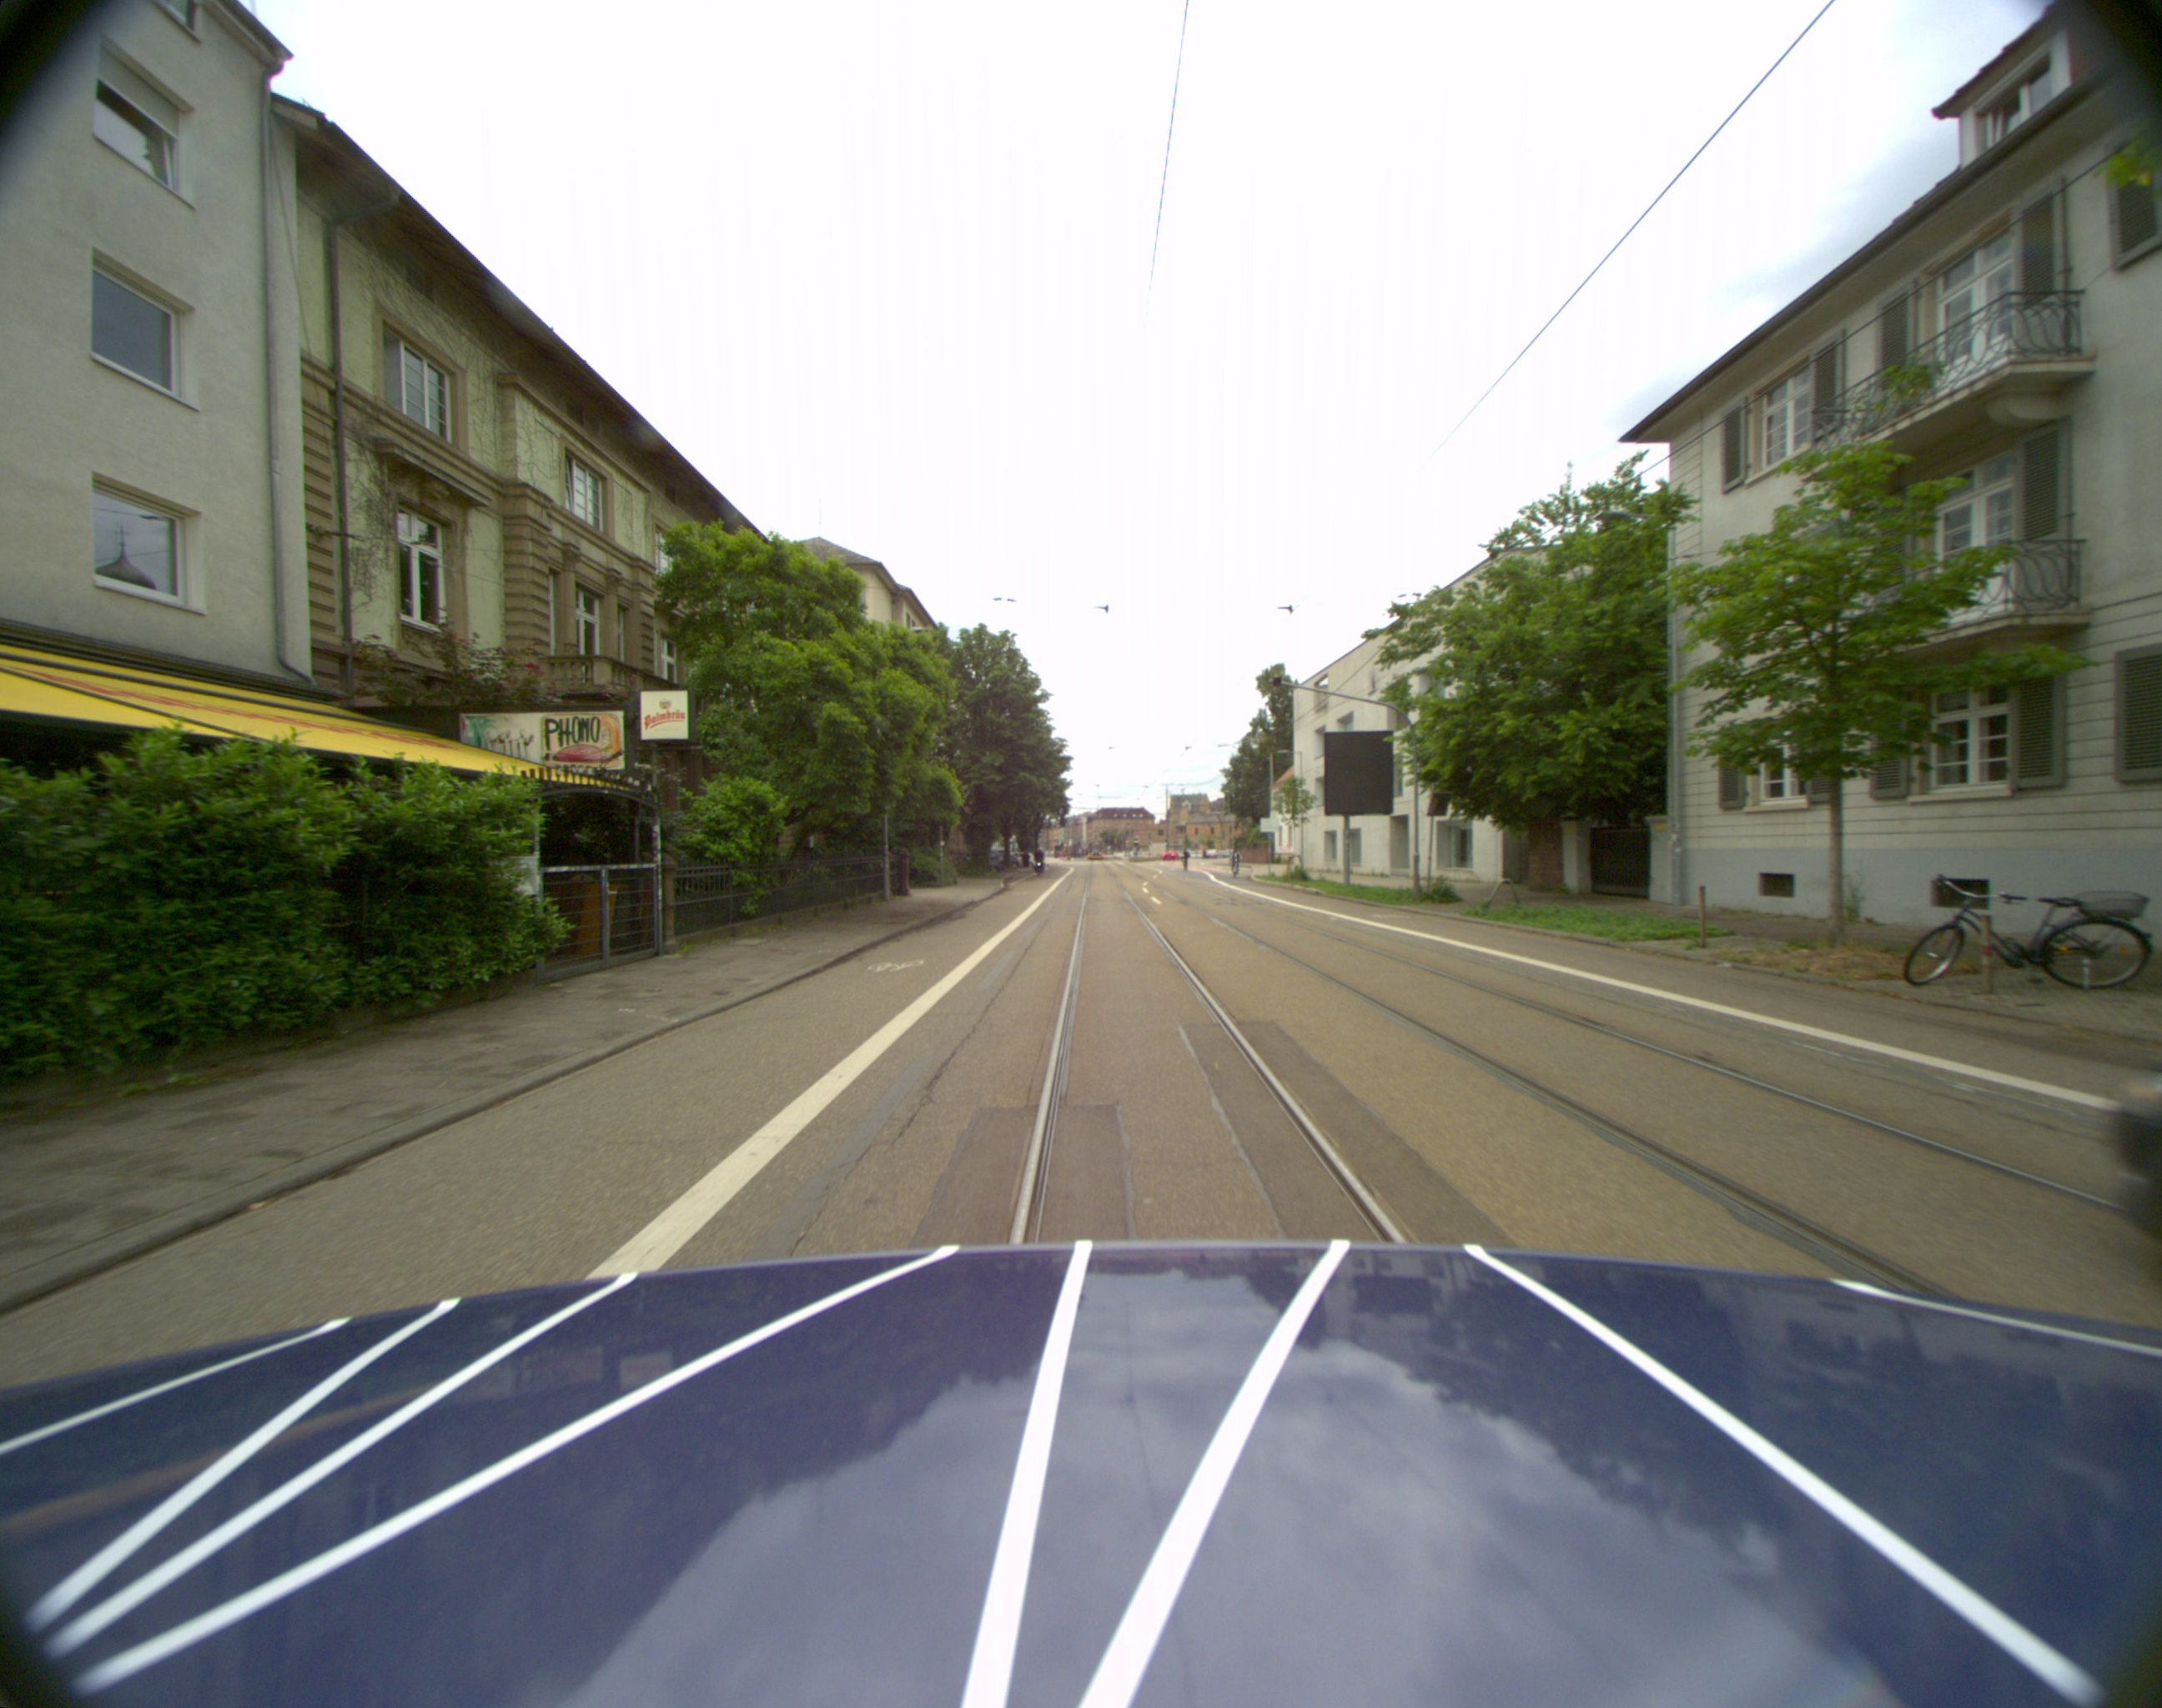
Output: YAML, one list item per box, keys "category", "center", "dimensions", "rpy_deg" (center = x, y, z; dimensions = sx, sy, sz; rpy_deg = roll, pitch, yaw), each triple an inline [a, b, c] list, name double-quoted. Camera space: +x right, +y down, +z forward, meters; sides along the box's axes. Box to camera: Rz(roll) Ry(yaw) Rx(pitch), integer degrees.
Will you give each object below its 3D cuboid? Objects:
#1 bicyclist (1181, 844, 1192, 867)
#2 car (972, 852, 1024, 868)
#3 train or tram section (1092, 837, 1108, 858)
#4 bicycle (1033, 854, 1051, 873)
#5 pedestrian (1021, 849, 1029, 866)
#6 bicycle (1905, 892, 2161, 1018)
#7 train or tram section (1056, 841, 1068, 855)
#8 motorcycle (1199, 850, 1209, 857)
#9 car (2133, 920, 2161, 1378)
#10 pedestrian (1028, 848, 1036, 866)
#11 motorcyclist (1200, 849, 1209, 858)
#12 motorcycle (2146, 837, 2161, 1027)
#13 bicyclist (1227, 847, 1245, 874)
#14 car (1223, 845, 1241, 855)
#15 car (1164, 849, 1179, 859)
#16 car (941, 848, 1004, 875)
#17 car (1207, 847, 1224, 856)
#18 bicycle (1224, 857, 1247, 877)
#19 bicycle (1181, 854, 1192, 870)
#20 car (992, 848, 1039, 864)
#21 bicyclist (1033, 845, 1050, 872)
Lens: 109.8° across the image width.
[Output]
- category: "bicyclist"
  center: [8.358, 0.152, 60.234]
  dimensions: [0.793, 1.773, 1.148]
  rpy_deg: [3, 1, 9]
- category: "car"
  center: [-7.496, 0.532, 68.685]
  dimensions: [4.338, 1.394, 1.750]
  rpy_deg: [-1, 1, -32]
- category: "train or tram section"
  center: [3.360, -1.109, 137.237]
  dimensions: [2.631, 3.660, 5.984]
  rpy_deg: [-1, 1, -1]
- category: "bicycle"
  center: [-2.673, 0.645, 52.038]
  dimensions: [0.852, 1.234, 2.311]
  rpy_deg: [-1, -1, 6]
- category: "pedestrian"
  center: [-5.499, 0.365, 74.912]
  dimensions: [0.645, 1.617, 0.591]
  rpy_deg: [-1, 1, -22]
- category: "bicycle"
  center: [9.363, 0.964, 7.405]
  dimensions: [1.744, 1.122, 0.518]
  rpy_deg: [-2, 0, 19]
- category: "train or tram section"
  center: [-4.102, -1.403, 167.972]
  dimensions: [2.609, 2.936, 4.965]
  rpy_deg: [-1, 1, -1]
- category: "motorcycle"
  center: [20.555, -0.063, 126.760]
  dimensions: [1.053, 1.063, 2.652]
  rpy_deg: [-1, 1, 23]
- category: "car"
  center: [4.143, 0.909, 0.545]
  dimensions: [1.733, 1.400, 3.655]
  rpy_deg: [-1, 1, 1]
- category: "pedestrian"
  center: [-4.835, 0.308, 75.035]
  dimensions: [0.614, 1.740, 0.685]
  rpy_deg: [-1, 1, -13]
- category: "motorcyclist"
  center: [20.663, -0.132, 127.026]
  dimensions: [1.074, 1.477, 1.253]
  rpy_deg: [-1, 1, 23]
- category: "motorcycle"
  center: [9.509, 0.679, 5.331]
  dimensions: [0.834, 1.633, 2.481]
  rpy_deg: [0, 1, 9]
- category: "bicyclist"
  center: [9.647, 0.398, 47.281]
  dimensions: [0.774, 1.681, 0.870]
  rpy_deg: [0, 1, 33]
- category: "car"
  center: [27.095, -0.745, 136.435]
  dimensions: [1.682, 1.641, 3.988]
  rpy_deg: [0, 1, 35]
- category: "car"
  center: [13.906, 0.005, 116.192]
  dimensions: [1.758, 1.491, 4.004]
  rpy_deg: [1, 1, 14]
- category: "car"
  center: [-7.372, 0.469, 51.815]
  dimensions: [3.846, 1.810, 1.802]
  rpy_deg: [0, 1, -30]
- category: "car"
  center: [23.103, -0.446, 130.452]
  dimensions: [1.490, 1.500, 3.476]
  rpy_deg: [0, 1, 34]
- category: "bicycle"
  center: [9.624, 0.819, 47.242]
  dimensions: [0.774, 1.205, 1.872]
  rpy_deg: [0, 1, 33]
- category: "bicycle"
  center: [8.347, 0.609, 60.207]
  dimensions: [0.793, 1.179, 2.012]
  rpy_deg: [3, 1, 9]
- category: "car"
  center: [-6.616, 0.238, 76.520]
  dimensions: [4.330, 1.542, 1.747]
  rpy_deg: [-1, 1, -21]
- category: "bicyclist"
  center: [-2.691, 0.345, 51.882]
  dimensions: [0.881, 1.811, 1.479]
  rpy_deg: [-1, -1, 6]
